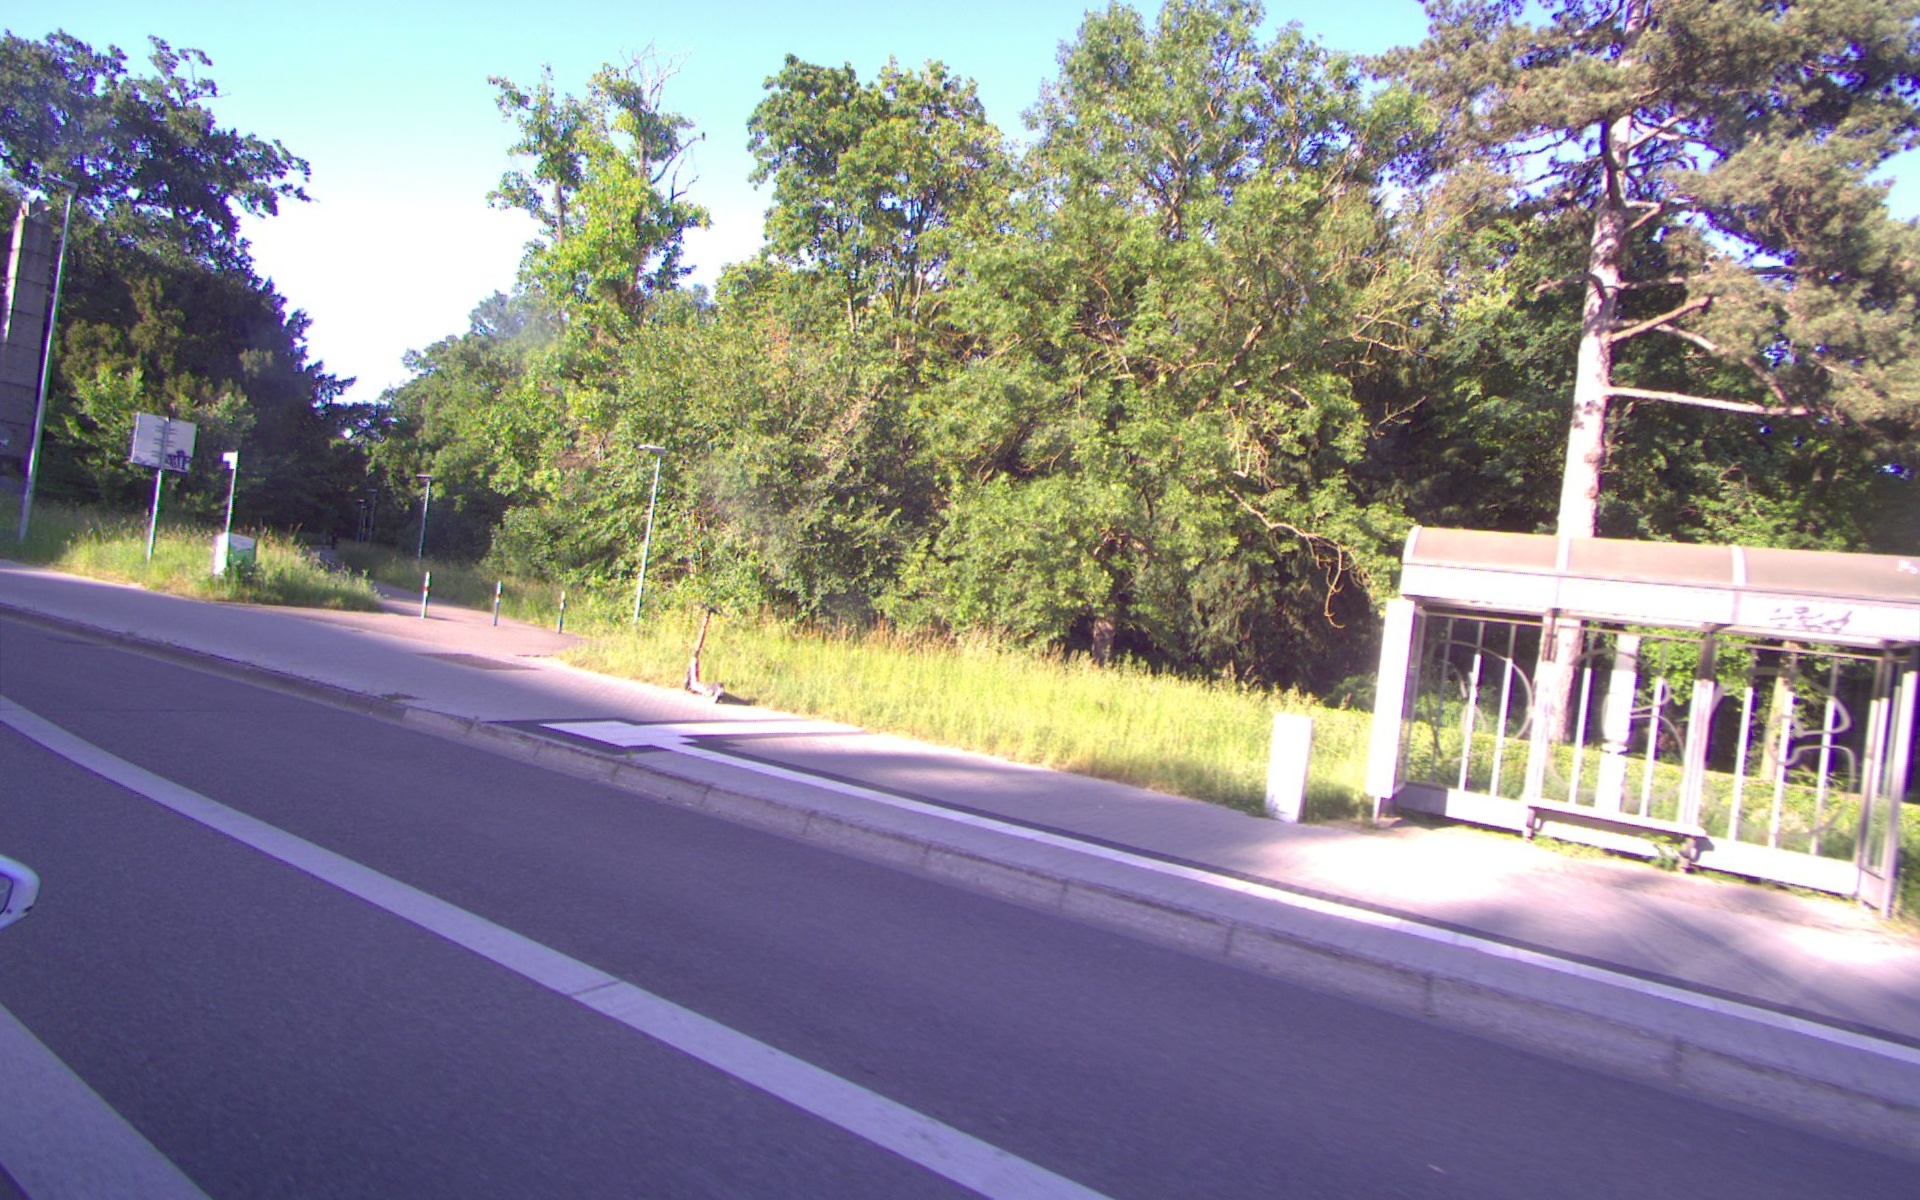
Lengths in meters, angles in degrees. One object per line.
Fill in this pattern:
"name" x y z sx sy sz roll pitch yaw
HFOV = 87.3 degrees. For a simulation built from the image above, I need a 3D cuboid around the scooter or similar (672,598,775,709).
"scooter or similar" -3.108 0.686 13.169 0.718 1.262 1.315 7 0 -37
